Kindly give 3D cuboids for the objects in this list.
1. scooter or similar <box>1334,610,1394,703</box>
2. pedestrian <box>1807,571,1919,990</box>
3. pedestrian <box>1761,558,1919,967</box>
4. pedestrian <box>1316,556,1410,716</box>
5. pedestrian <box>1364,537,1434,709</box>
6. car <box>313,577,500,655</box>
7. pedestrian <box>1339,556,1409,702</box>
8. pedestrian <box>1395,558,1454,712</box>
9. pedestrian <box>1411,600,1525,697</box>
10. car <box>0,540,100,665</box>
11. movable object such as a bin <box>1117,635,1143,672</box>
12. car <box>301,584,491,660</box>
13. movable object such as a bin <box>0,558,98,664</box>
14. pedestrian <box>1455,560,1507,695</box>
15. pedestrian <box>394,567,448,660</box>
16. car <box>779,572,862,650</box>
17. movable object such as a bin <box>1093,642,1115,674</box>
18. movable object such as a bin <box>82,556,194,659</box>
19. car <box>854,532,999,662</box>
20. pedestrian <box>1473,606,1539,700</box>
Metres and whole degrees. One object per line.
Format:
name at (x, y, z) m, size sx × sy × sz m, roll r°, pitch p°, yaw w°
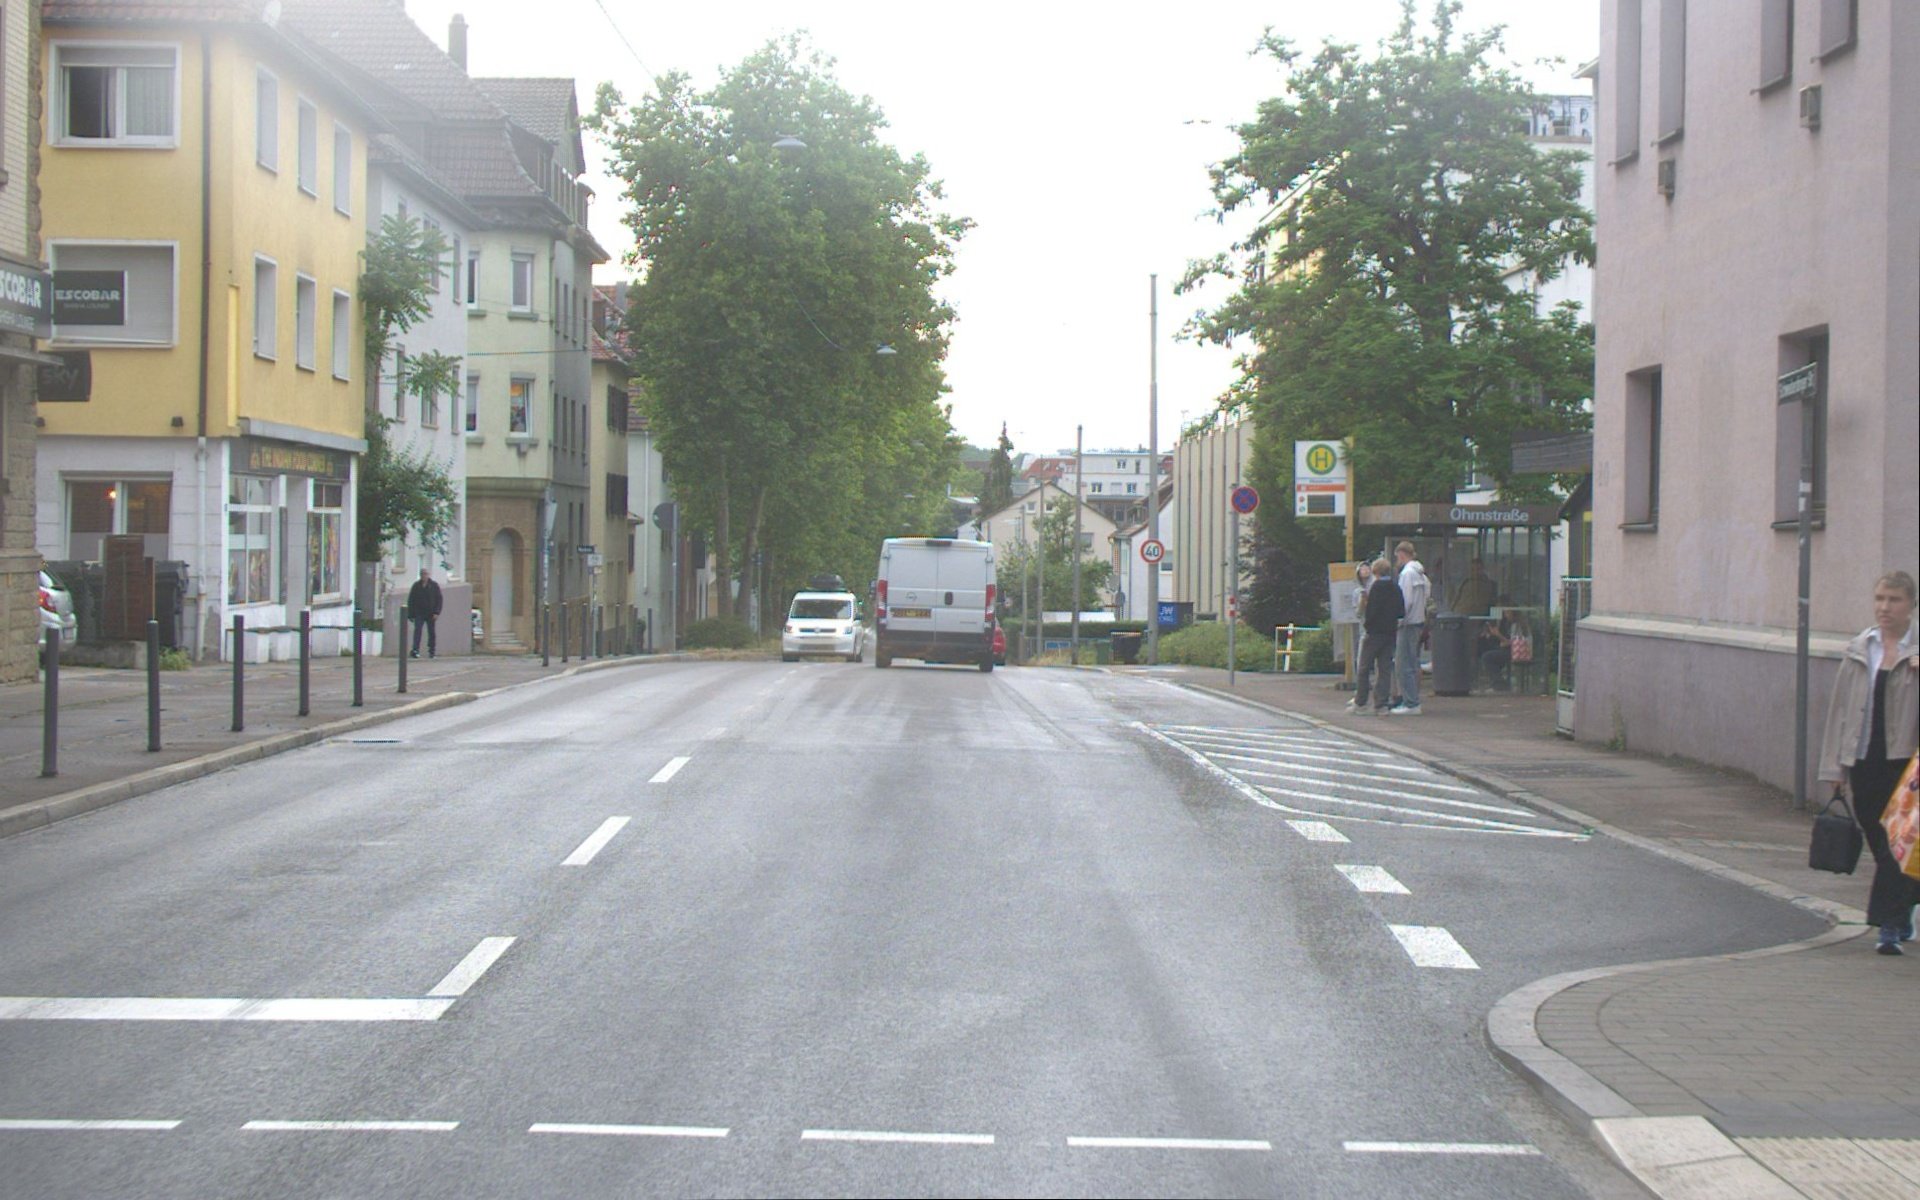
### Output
scooter or similar at (4.946, 0.688, 42.112) m, size 0.617 × 1.136 × 0.568 m, roll 0°, pitch 0°, yaw -5°
pedestrian at (3.832, 0.687, 13.338) m, size 0.875 × 1.555 × 1.049 m, roll 2°, pitch 0°, yaw 7°
pedestrian at (3.908, 0.665, 14.488) m, size 0.784 × 1.636 × 1.222 m, roll 2°, pitch 0°, yaw 4°
pedestrian at (4.369, 0.386, 37.306) m, size 0.634 × 1.704 × 0.749 m, roll -1°, pitch 0°, yaw -34°
pedestrian at (4.826, 0.251, 37.797) m, size 0.487 × 1.869 × 0.631 m, roll -1°, pitch 0°, yaw 34°
car at (-13.664, 0.392, 85.025) m, size 4.182 × 1.582 × 2.000 m, roll 4°, pitch -1°, yaw 0°
pedestrian at (4.982, 0.347, 41.396) m, size 0.660 × 1.735 × 0.829 m, roll 0°, pitch 0°, yaw -6°
pedestrian at (5.180, 0.387, 38.333) m, size 0.447 × 1.702 × 0.556 m, roll -1°, pitch 0°, yaw 27°
pedestrian at (6.749, 0.637, 45.698) m, size 1.355 × 1.269 × 0.742 m, roll 0°, pitch 0°, yaw -6°
car at (-12.822, -0.051, 43.085) m, size 3.564 × 1.481 × 1.947 m, roll 3°, pitch 0°, yaw -2°
movable object such as a bin at (5.066, 1.589, 102.360) m, size 0.695 × 1.078 × 0.778 m, roll -2°, pitch -1°, yaw 1°
car at (-13.023, 0.513, 79.524) m, size 3.987 × 1.448 × 2.000 m, roll 4°, pitch -1°, yaw -1°
movable object such as a bin at (-12.794, 0.146, 47.988) m, size 1.246 × 1.435 × 0.983 m, roll 2°, pitch 0°, yaw -1°
pedestrian at (7.134, 0.371, 47.054) m, size 0.647 × 1.825 × 0.741 m, roll 0°, pitch 0°, yaw 14°
pedestrian at (-9.942, 0.257, 63.421) m, size 0.815 × 1.674 × 0.993 m, roll 2°, pitch -1°, yaw -3°
car at (-3.430, 0.293, 85.435) m, size 1.882 × 1.863 × 4.453 m, roll 1°, pitch -1°, yaw 0°
movable object such as a bin at (4.283, 1.716, 102.198) m, size 0.619 × 0.933 × 0.686 m, roll -2°, pitch -1°, yaw 1°
movable object such as a bin at (-11.472, 0.100, 48.018) m, size 1.301 × 1.397 × 0.983 m, roll 2°, pitch 0°, yaw 0°
car at (-0.633, -0.085, 60.107) m, size 2.346 × 2.153 × 4.778 m, roll 1°, pitch 1°, yaw -2°
pedestrian at (7.001, 0.679, 44.108) m, size 0.660 × 1.195 × 0.742 m, roll 0°, pitch 0°, yaw -6°
